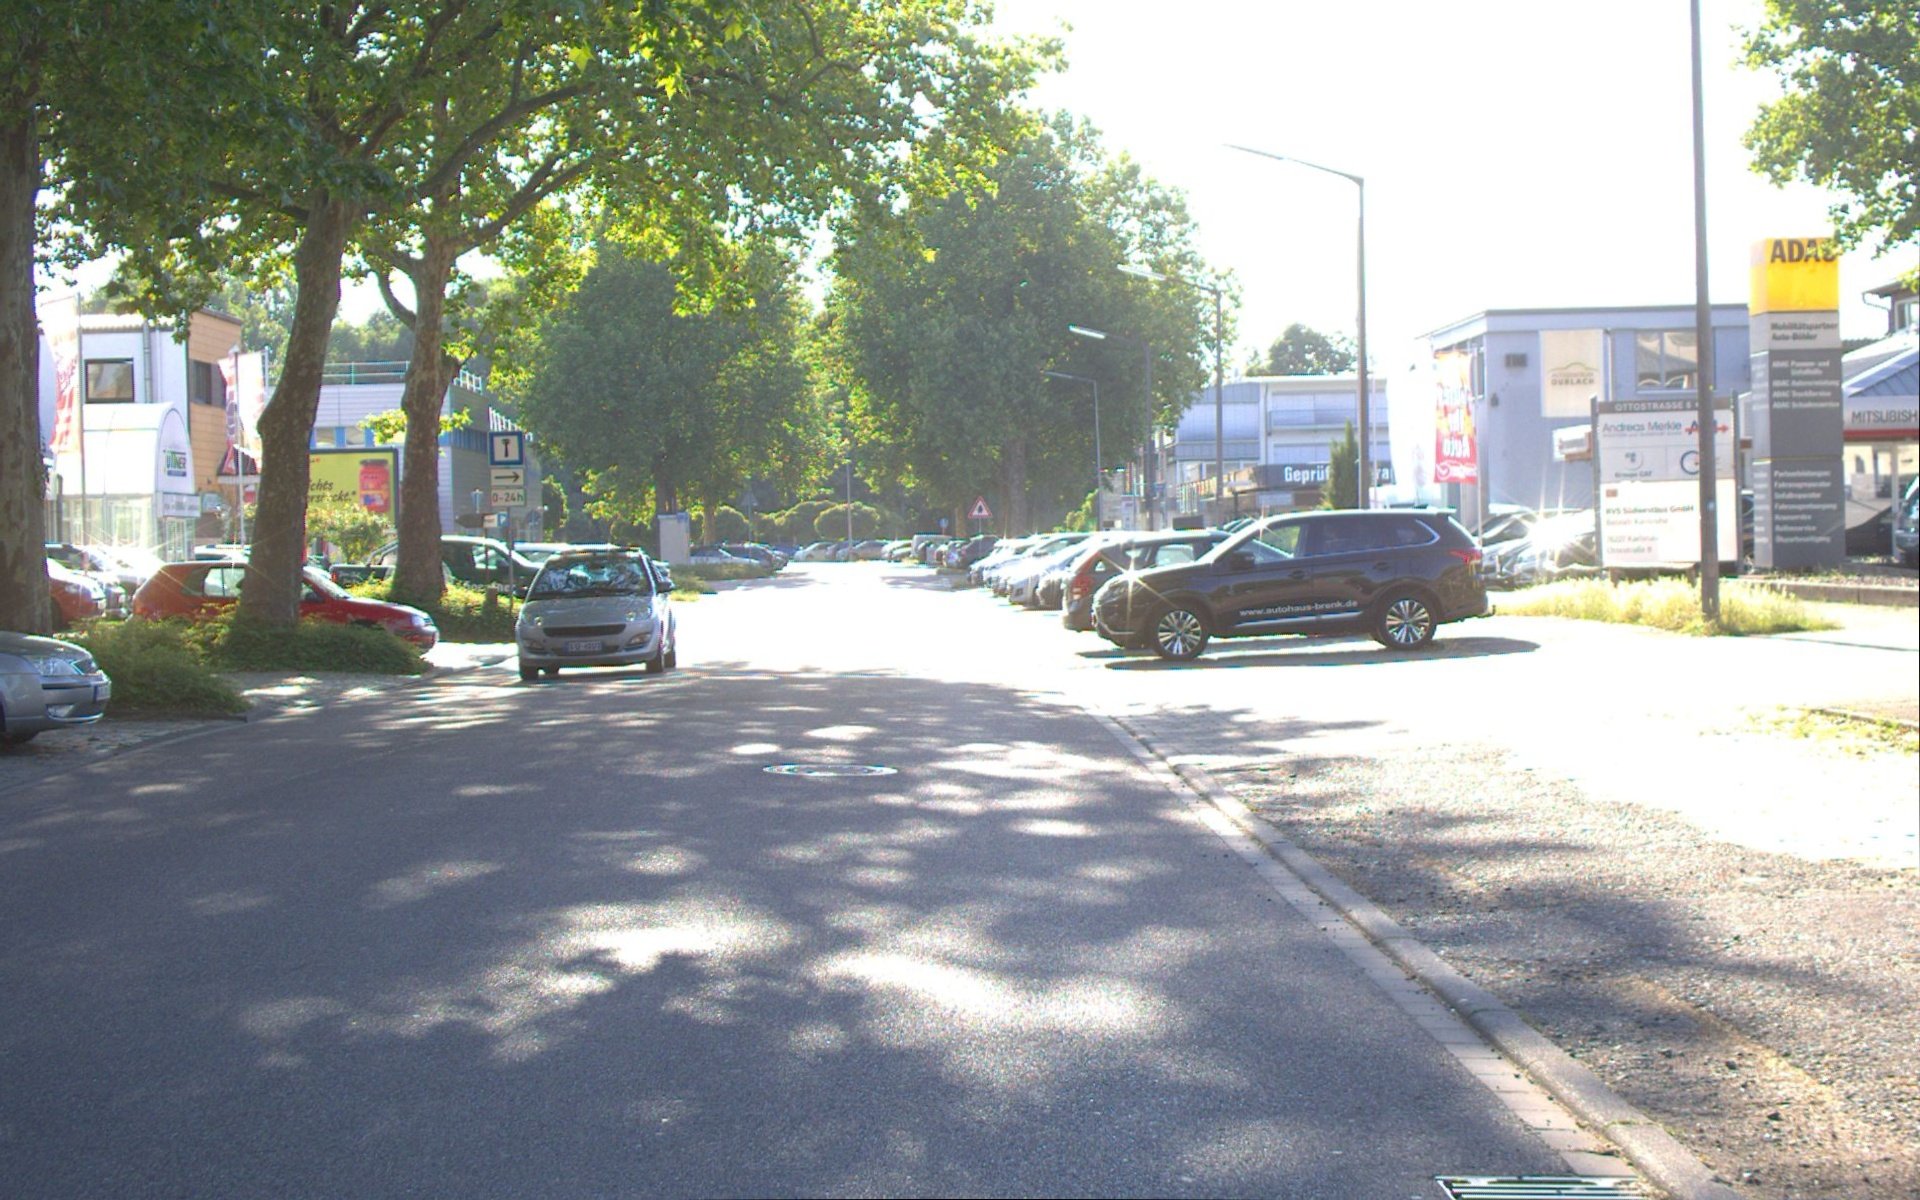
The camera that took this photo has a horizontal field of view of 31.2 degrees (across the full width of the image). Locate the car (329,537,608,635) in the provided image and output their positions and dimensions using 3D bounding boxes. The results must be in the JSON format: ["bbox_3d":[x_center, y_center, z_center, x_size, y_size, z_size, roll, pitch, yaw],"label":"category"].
[{"bbox_3d":[-9.730,-0.284,68.341,5.259,1.892,2.202,0,0,-1],"label":"car"}]

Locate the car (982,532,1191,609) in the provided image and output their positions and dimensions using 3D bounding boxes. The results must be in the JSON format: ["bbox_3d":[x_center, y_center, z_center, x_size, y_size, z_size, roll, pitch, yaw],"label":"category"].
[{"bbox_3d":[2.484,-0.593,67.690,3.987,1.292,1.784,-3,1,2],"label":"car"}]

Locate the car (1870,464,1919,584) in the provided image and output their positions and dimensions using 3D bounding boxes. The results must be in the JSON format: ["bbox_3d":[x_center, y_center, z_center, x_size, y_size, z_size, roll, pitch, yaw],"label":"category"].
[{"bbox_3d":[14.597,-1.022,46.461,3.986,1.590,2.000,0,1,-5],"label":"car"}]

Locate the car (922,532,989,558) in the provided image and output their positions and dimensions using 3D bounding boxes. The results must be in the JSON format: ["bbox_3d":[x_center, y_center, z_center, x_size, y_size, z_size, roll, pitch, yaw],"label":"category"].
[{"bbox_3d":[-0.290,-3.301,207.657,3.987,1.411,1.827,-2,1,-1],"label":"car"}]

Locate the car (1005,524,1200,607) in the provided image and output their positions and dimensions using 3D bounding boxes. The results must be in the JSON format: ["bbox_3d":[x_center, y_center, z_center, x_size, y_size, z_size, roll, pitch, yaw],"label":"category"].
[{"bbox_3d":[3.095,-0.754,75.149,3.986,1.582,1.868,-3,1,-4],"label":"car"}]

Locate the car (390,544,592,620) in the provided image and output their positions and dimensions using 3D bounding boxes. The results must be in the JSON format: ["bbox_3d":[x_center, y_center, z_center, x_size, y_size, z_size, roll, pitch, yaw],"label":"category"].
[{"bbox_3d":[-10.427,-0.398,76.729,4.302,1.650,2.202,0,0,-4],"label":"car"}]

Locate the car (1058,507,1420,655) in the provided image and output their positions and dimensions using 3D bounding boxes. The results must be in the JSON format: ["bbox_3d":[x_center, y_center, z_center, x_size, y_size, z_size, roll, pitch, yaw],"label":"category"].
[{"bbox_3d":[3.732,-0.266,46.604,4.600,1.607,2.000,-5,1,-1],"label":"car"}]

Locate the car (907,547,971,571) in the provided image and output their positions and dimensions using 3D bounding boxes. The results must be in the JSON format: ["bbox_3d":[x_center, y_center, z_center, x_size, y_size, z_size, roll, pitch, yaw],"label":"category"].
[{"bbox_3d":[-1.337,-2.606,218.904,3.987,1.411,1.827,-2,1,-1],"label":"car"}]

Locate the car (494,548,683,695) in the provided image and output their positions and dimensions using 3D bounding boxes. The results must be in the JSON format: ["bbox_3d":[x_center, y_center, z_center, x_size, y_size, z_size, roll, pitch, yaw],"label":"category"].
[{"bbox_3d":[-4.368,0.222,40.918,1.838,1.565,3.802,-3,1,-1],"label":"car"}]

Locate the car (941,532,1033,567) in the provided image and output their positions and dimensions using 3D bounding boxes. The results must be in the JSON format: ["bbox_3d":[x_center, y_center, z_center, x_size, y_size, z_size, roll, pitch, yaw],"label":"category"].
[{"bbox_3d":[1.168,-2.242,152.195,3.987,1.411,1.827,-2,1,-1],"label":"car"}]

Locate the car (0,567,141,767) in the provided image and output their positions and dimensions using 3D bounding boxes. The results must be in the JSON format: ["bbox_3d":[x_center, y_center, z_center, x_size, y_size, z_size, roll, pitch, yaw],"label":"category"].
[{"bbox_3d":[-8.805,0.531,26.283,4.599,1.417,2.000,-1,2,-1],"label":"car"}]

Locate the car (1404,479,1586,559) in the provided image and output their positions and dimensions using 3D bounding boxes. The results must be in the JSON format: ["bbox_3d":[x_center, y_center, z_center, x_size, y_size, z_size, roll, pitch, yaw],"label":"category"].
[{"bbox_3d":[13.365,-2.021,86.067,4.144,1.765,2.000,-3,1,-1],"label":"car"}]

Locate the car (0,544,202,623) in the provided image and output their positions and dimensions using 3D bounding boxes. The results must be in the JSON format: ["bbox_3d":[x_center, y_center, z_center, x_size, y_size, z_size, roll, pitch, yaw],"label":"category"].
[{"bbox_3d":[-18.522,-0.354,72.395,4.718,1.637,2.000,0,1,-2],"label":"car"}]

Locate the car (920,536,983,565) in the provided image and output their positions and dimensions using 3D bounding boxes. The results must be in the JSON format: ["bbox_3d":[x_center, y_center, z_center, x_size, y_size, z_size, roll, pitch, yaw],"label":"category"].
[{"bbox_3d":[-0.564,-3.197,222.895,3.987,1.770,1.827,-2,1,-1],"label":"car"}]

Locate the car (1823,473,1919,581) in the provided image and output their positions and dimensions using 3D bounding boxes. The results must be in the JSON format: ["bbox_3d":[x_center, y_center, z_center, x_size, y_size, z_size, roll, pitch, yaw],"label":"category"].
[{"bbox_3d":[14.681,-1.043,49.406,3.986,1.514,2.000,0,1,-5],"label":"car"}]

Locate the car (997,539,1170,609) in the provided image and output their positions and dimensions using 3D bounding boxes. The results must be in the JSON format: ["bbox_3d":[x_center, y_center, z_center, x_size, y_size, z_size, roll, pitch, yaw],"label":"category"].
[{"bbox_3d":[3.457,-0.739,96.852,4.554,1.592,2.202,-4,1,-3],"label":"car"}]

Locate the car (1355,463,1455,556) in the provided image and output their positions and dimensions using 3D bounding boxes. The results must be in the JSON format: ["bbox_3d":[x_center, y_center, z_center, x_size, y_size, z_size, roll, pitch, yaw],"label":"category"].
[{"bbox_3d":[12.903,-2.604,100.038,1.993,2.616,6.138,0,1,-1],"label":"car"}]

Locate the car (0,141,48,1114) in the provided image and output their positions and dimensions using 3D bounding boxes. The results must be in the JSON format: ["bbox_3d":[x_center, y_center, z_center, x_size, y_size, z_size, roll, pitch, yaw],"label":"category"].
[{"bbox_3d":[-3.634,0.187,6.212,2.127,2.650,7.002,-2,2,-1],"label":"car"}]

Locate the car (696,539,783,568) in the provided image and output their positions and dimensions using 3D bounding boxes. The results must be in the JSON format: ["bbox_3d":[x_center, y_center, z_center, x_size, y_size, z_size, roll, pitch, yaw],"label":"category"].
[{"bbox_3d":[-11.569,-2.447,180.443,4.415,1.511,2.000,0,1,1],"label":"car"}]

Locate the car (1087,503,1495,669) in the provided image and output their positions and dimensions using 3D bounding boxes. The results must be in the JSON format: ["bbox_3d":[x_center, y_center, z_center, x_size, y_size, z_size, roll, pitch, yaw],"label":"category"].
[{"bbox_3d":[3.881,-0.170,40.955,4.601,1.574,2.000,-4,1,1],"label":"car"}]

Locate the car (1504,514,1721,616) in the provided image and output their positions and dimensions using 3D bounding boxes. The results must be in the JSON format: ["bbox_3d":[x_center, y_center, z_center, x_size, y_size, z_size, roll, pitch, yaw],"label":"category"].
[{"bbox_3d":[13.211,-0.728,69.758,3.933,1.891,2.202,-1,4,-1],"label":"car"}]

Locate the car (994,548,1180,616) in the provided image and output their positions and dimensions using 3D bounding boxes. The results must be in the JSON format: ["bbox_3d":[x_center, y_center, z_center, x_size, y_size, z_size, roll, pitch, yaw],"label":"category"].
[{"bbox_3d":[3.015,-0.433,82.082,4.241,1.599,1.746,0,1,-5],"label":"car"}]

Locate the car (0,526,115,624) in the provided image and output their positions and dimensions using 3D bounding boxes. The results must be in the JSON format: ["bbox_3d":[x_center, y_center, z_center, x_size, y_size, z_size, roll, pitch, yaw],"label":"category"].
[{"bbox_3d":[-18.522,-0.480,64.747,4.745,1.813,2.000,0,1,-2],"label":"car"}]

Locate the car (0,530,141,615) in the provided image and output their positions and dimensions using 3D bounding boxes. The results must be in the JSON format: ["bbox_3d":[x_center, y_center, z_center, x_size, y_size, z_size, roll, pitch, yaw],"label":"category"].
[{"bbox_3d":[-18.680,-0.539,67.587,4.713,1.628,2.000,0,1,-2],"label":"car"}]

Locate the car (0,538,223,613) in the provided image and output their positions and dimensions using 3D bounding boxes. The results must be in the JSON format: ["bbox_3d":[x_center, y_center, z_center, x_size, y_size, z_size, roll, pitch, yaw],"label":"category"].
[{"bbox_3d":[-18.558,-0.546,74.776,4.660,1.587,1.929,0,1,-2],"label":"car"}]

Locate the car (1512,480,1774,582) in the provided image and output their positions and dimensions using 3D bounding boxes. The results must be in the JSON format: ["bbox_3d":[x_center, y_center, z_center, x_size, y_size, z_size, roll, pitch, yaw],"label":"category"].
[{"bbox_3d":[12.946,-1.295,65.343,4.495,1.892,2.202,0,0,-1],"label":"car"}]

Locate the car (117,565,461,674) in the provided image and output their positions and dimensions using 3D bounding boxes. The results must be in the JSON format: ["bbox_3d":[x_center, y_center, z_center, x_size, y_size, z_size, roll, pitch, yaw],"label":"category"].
[{"bbox_3d":[-9.028,0.245,46.513,4.296,1.441,2.000,0,0,-1],"label":"car"}]
